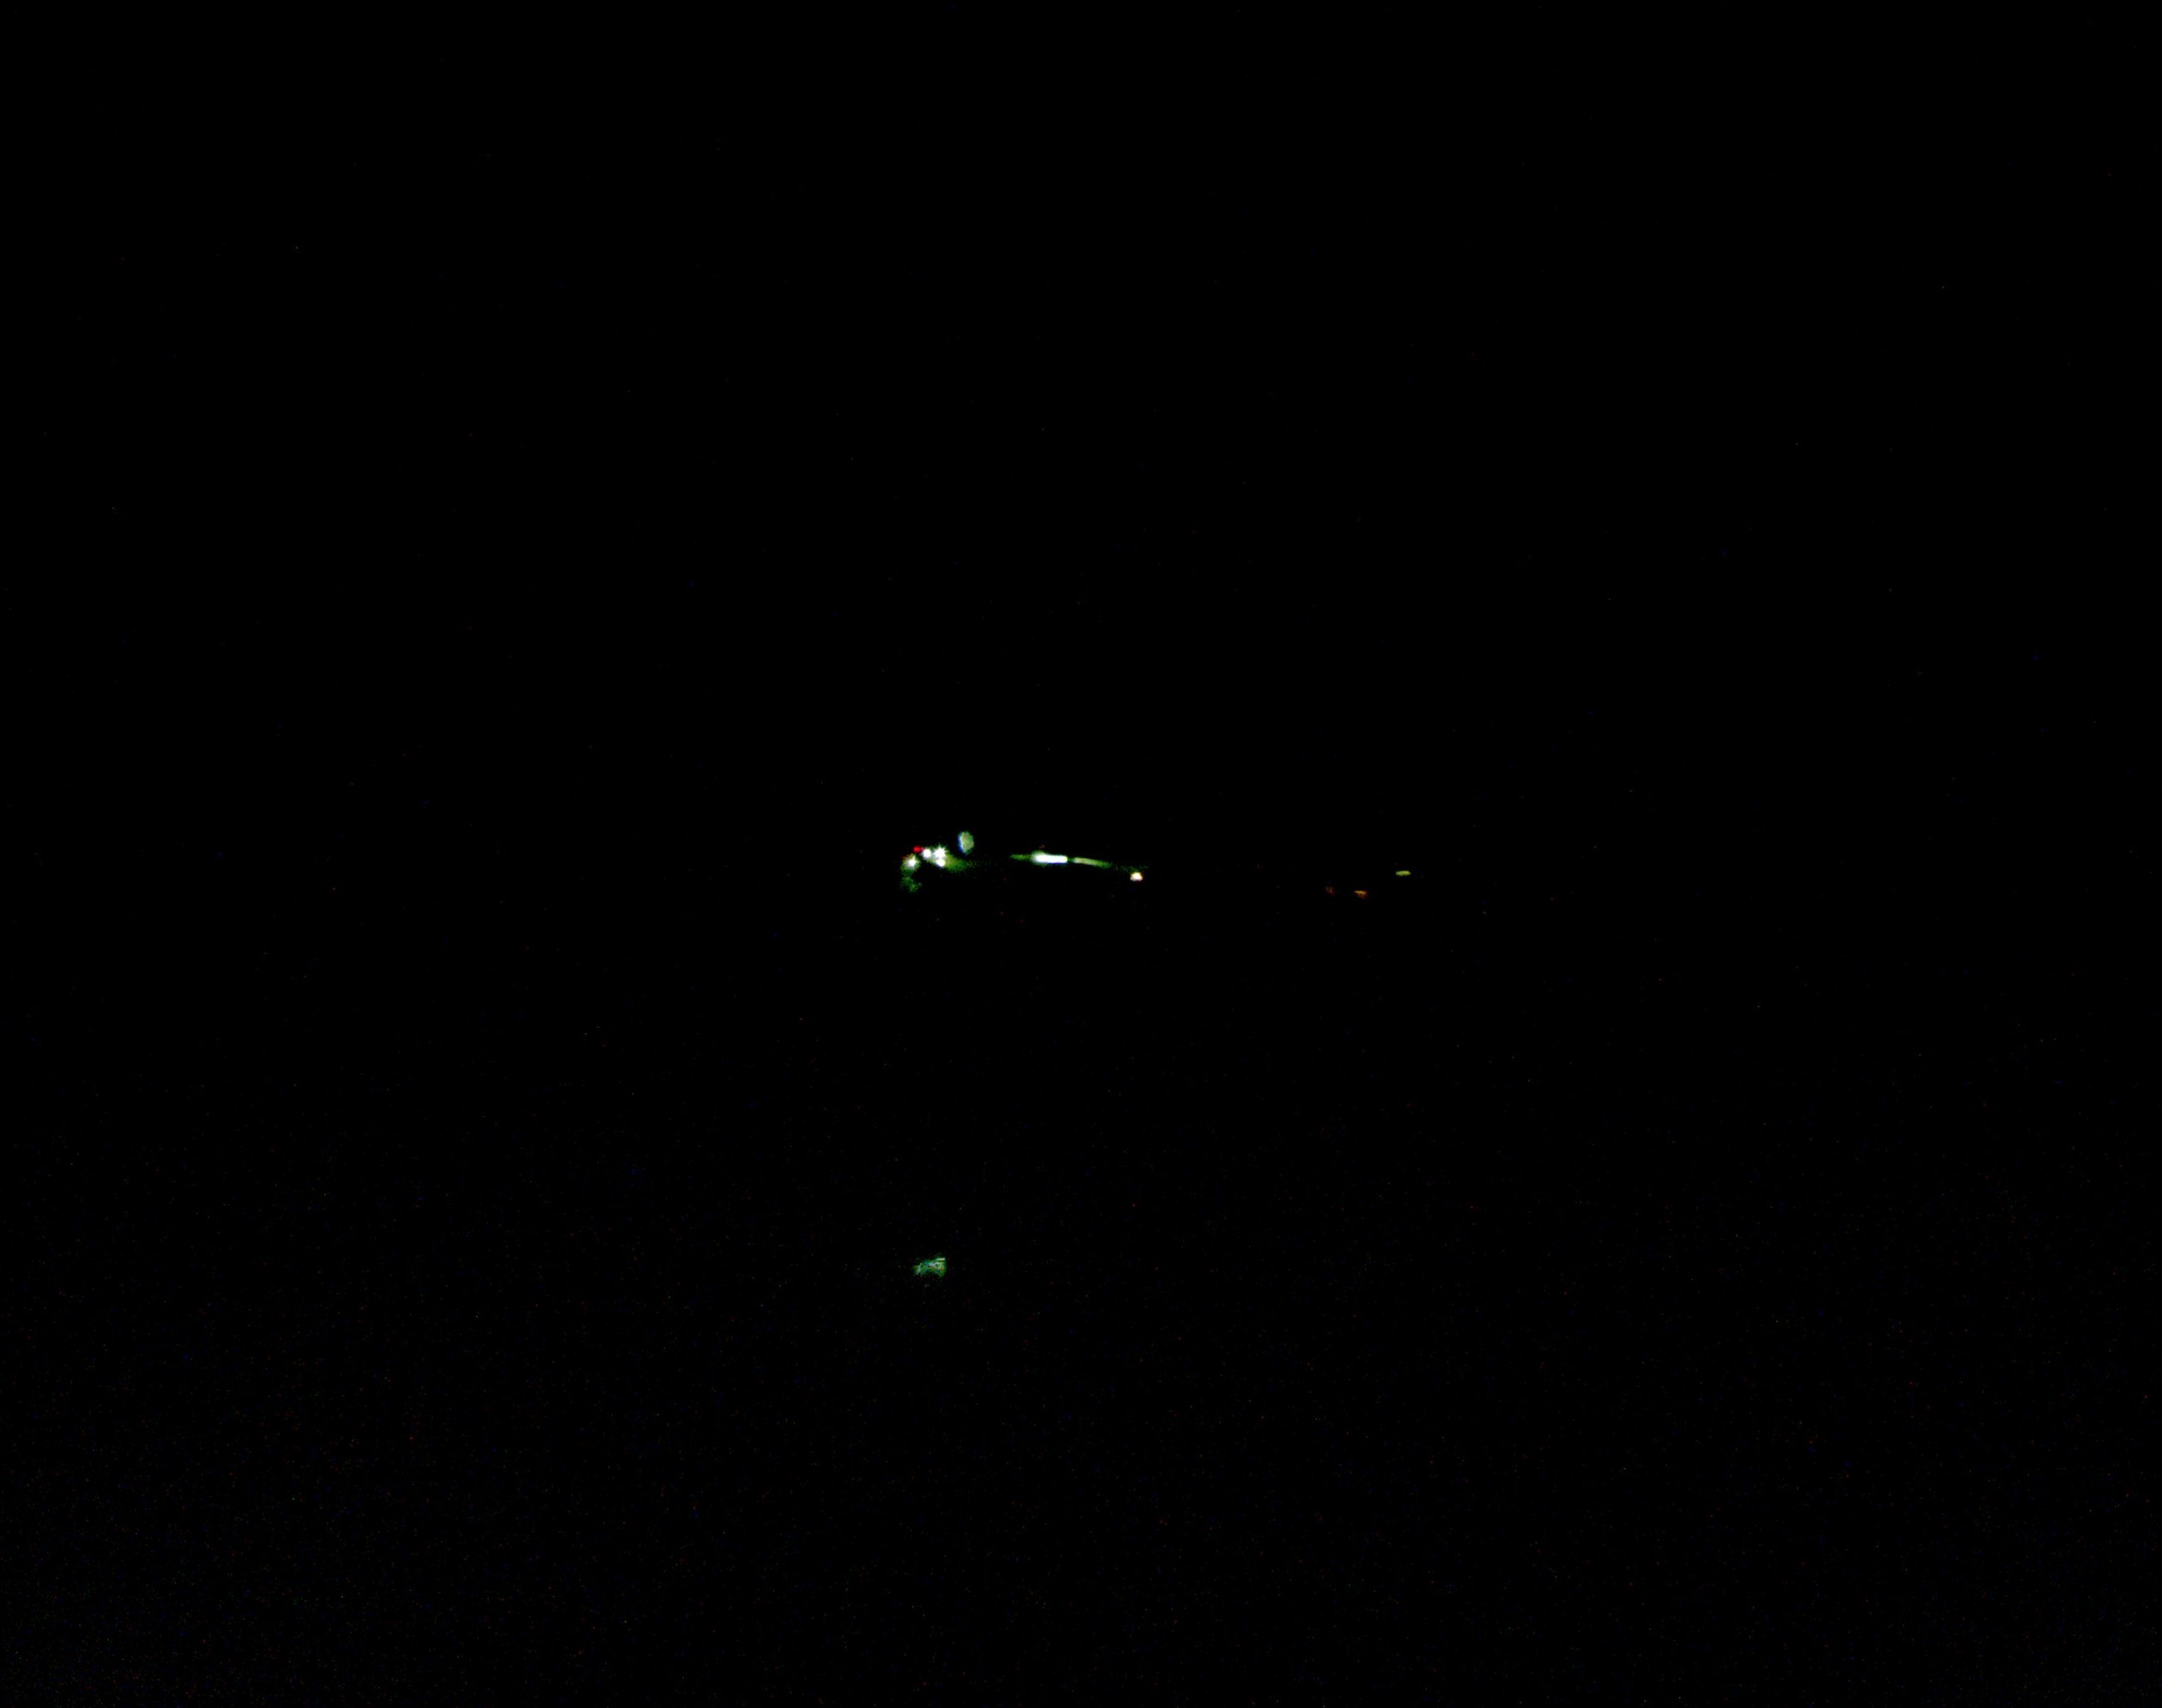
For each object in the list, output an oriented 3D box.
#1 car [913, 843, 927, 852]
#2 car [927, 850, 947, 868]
[{"bbox_3d":[-26.707,-1.073,125.960,2.001,1.403,3.993,-3,3,-15],"label":"car"},{"bbox_3d":[-16.690,0.547,87.930,1.800,1.840,3.637,-3,2,-17],"label":"car"}]
